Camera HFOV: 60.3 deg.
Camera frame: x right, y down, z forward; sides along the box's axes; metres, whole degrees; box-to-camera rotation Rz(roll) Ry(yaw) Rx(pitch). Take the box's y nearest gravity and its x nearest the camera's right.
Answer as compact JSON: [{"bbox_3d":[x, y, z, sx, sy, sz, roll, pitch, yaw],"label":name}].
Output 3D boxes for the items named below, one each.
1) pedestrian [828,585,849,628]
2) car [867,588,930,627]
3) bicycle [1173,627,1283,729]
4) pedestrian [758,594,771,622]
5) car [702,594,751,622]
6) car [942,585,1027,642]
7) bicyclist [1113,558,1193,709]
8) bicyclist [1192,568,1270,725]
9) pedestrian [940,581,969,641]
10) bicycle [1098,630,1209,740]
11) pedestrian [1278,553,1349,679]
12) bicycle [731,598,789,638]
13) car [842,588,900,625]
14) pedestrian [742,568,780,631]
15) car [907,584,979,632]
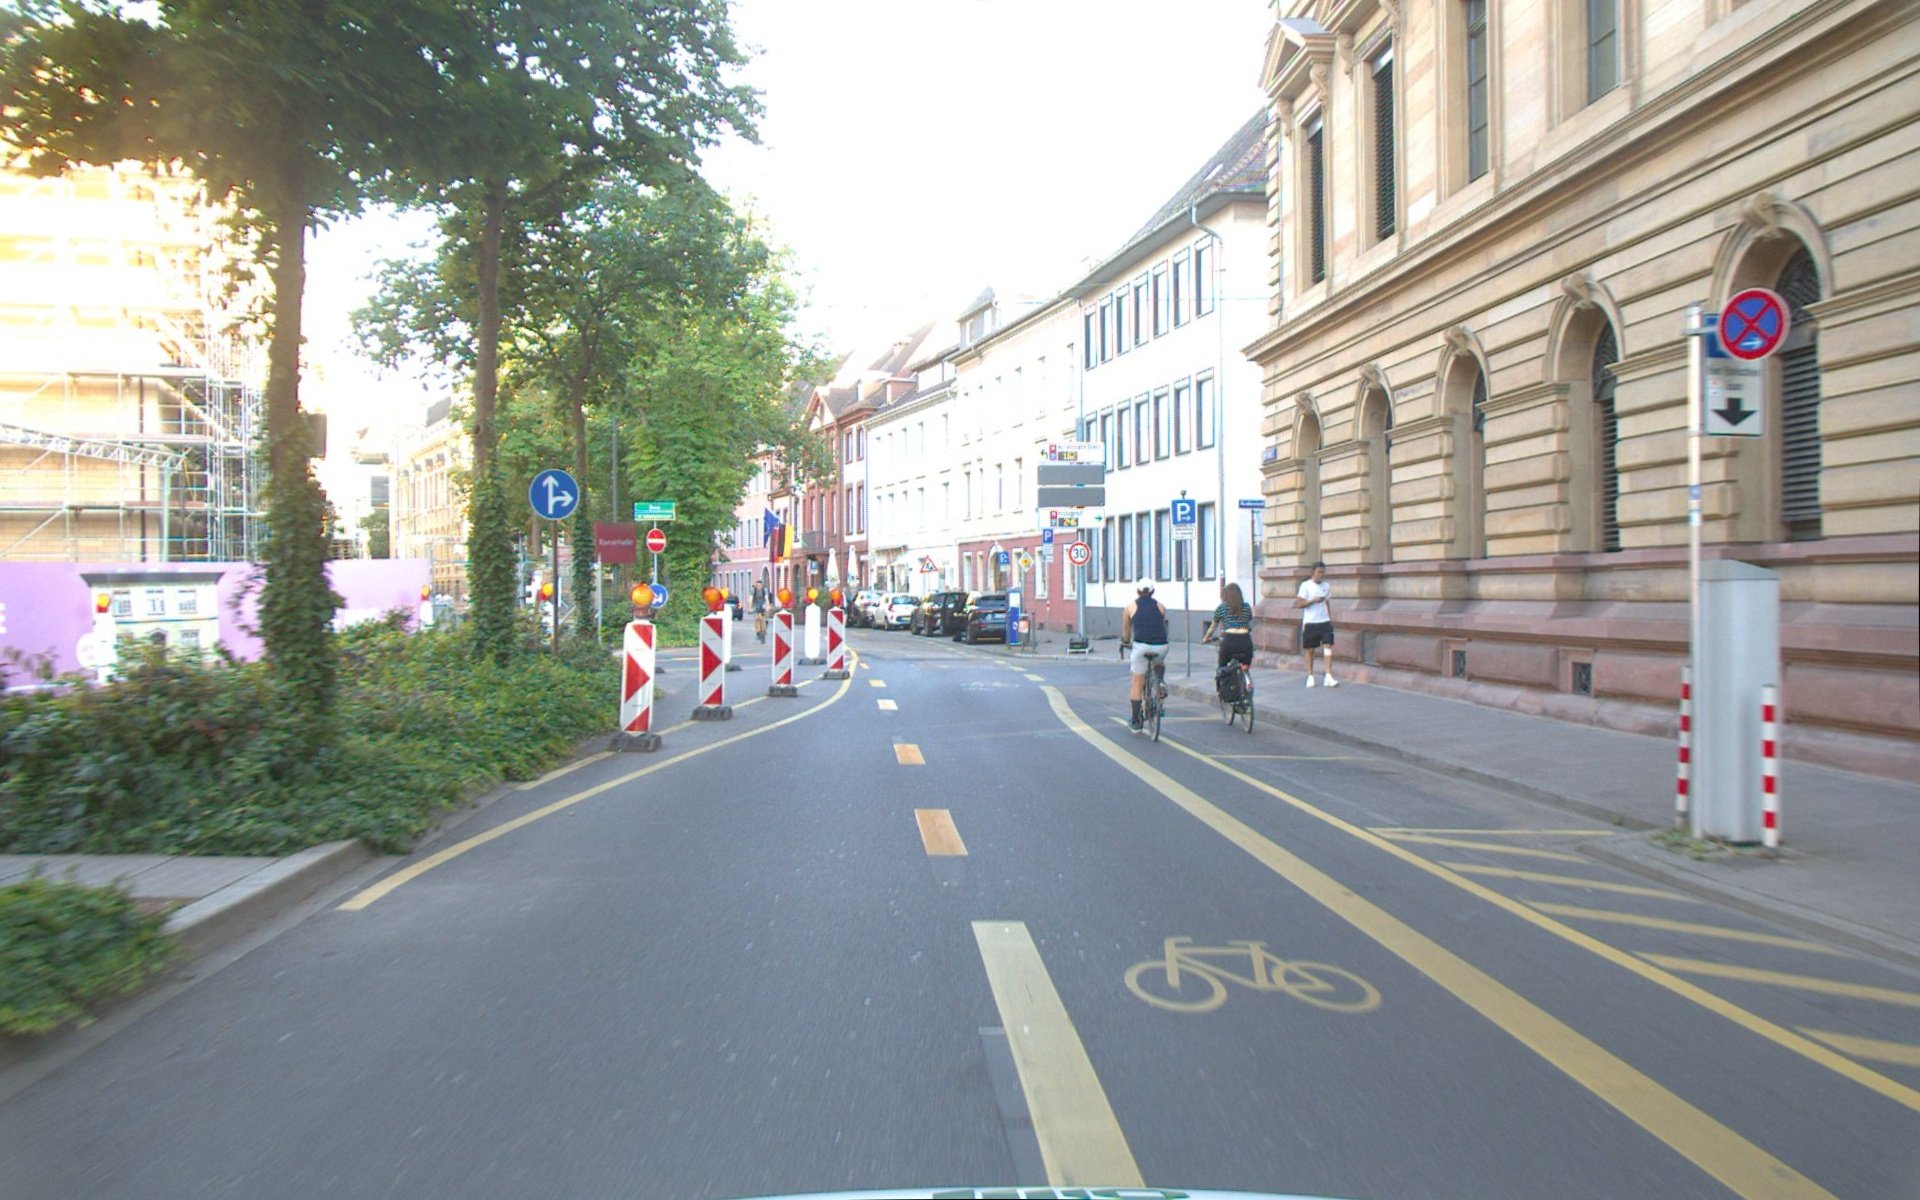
[{"bbox_3d":[-5.336,0.277,72.692,0.814,1.876,0.958,1,1,1],"label":"pedestrian"},{"bbox_3d":[-2.586,0.290,68.400,1.782,1.587,3.849,0,0,-15],"label":"car"},{"bbox_3d":[3.161,0.903,19.752,0.640,1.089,2.254,2,0,-8],"label":"bicycle"},{"bbox_3d":[-12.654,0.498,107.150,0.738,1.793,0.582,0,0,-18],"label":"pedestrian"},{"bbox_3d":[-13.476,0.426,95.329,1.790,1.587,3.834,0,0,-25],"label":"car"},{"bbox_3d":[0.736,0.404,52.459,1.781,1.712,3.905,0,0,-14],"label":"car"},{"bbox_3d":[2.091,0.361,18.014,0.657,1.593,0.697,2,0,-10],"label":"bicyclist"},{"bbox_3d":[3.188,0.533,19.513,0.637,1.791,0.863,1,0,-8],"label":"bicyclist"},{"bbox_3d":[-0.169,0.357,53.268,0.882,1.898,0.931,0,0,-3],"label":"pedestrian"},{"bbox_3d":[2.084,0.897,18.047,0.657,1.089,1.896,1,0,-11],"label":"bicycle"},{"bbox_3d":[5.134,0.221,24.073,0.800,1.796,1.038,1,1,1],"label":"pedestrian"},{"bbox_3d":[-5.526,0.493,45.864,0.745,1.055,2.121,0,0,18],"label":"bicycle"},{"bbox_3d":[-3.923,0.262,72.745,1.782,1.587,3.849,0,0,-15],"label":"car"},{"bbox_3d":[-5.518,-0.016,45.909,0.719,1.703,0.896,0,0,19],"label":"pedestrian"},{"bbox_3d":[-0.658,0.270,60.548,1.782,1.713,3.985,0,0,-14],"label":"car"}]
